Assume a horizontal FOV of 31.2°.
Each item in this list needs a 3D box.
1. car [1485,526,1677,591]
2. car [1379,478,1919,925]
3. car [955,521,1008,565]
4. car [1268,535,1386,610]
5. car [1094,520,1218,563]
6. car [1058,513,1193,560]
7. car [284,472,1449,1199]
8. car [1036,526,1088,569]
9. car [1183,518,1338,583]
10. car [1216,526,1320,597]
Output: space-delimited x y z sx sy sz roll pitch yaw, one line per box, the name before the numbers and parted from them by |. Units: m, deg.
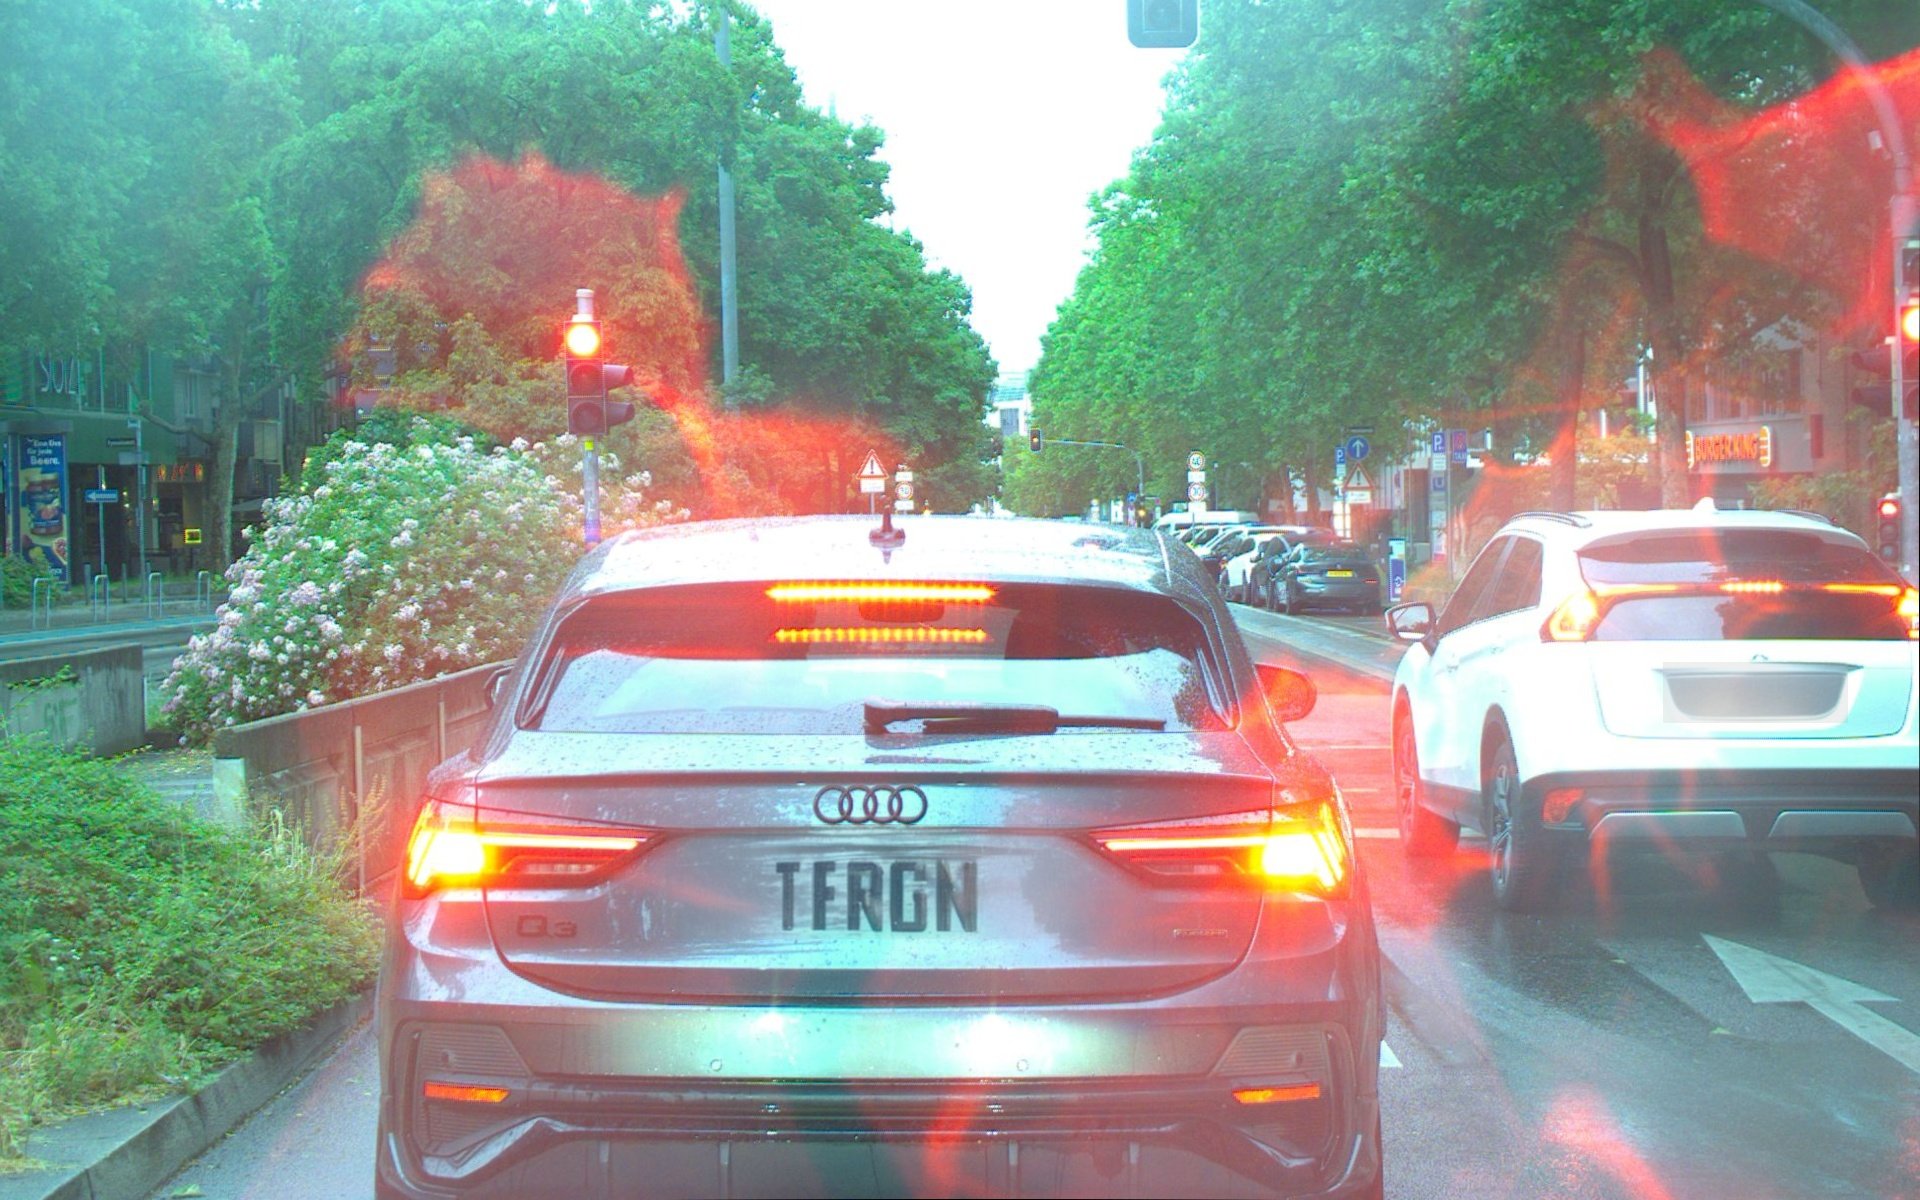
car | 10.612 -0.708 58.803 2.889 1.071 1.453 1 1 32
car | 3.037 0.373 15.181 1.878 1.691 4.000 1 0 0
car | 0.784 -2.146 129.273 1.896 1.593 3.939 1 0 -1
car | 7.298 -0.565 68.746 1.873 1.416 4.611 1 1 0
car | 8.048 -2.399 140.923 4.646 1.700 1.997 1 1 28
car | 6.188 -2.368 128.754 4.646 1.700 1.997 1 1 28
car | -0.171 0.560 7.472 1.849 1.596 4.000 0 1 -1
car | 4.100 -2.102 138.550 1.993 1.645 4.000 1 0 1
car | 9.567 -1.593 109.693 4.602 2.007 1.964 1 1 39
car | 7.094 -0.888 79.512 1.727 1.566 4.074 1 0 -4
